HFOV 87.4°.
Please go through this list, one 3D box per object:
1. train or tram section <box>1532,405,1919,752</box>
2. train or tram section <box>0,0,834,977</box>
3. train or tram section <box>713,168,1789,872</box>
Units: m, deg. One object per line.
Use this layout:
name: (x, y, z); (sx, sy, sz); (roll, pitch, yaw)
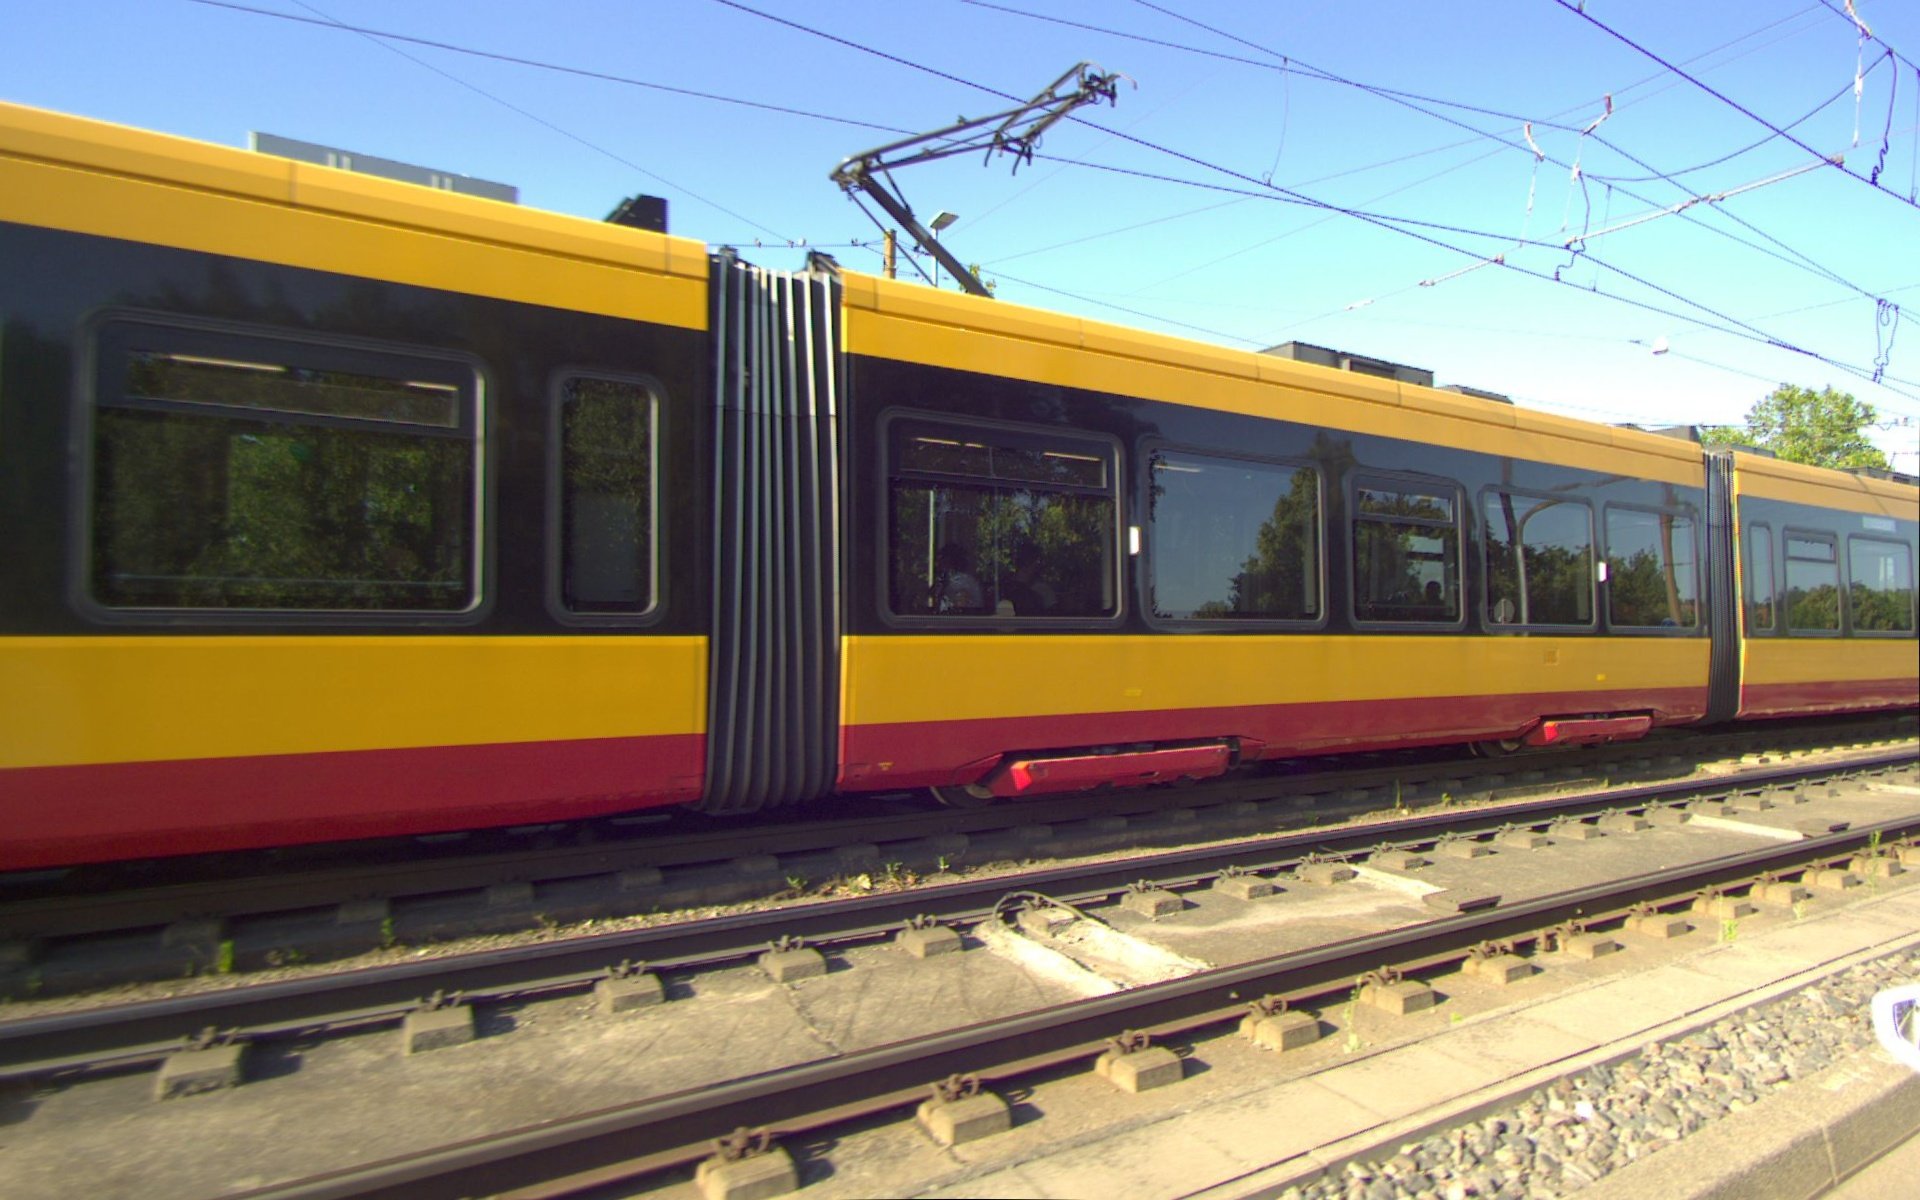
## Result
train or tram section: (14.145, -0.104, 15.877); (12.550, 3.952, 2.964); (1, -1, -30)
train or tram section: (-7.035, -0.591, 3.598); (12.925, 3.952, 2.990); (1, -1, -30)
train or tram section: (3.707, -0.324, 9.817); (11.526, 3.952, 2.963); (1, -1, -30)
